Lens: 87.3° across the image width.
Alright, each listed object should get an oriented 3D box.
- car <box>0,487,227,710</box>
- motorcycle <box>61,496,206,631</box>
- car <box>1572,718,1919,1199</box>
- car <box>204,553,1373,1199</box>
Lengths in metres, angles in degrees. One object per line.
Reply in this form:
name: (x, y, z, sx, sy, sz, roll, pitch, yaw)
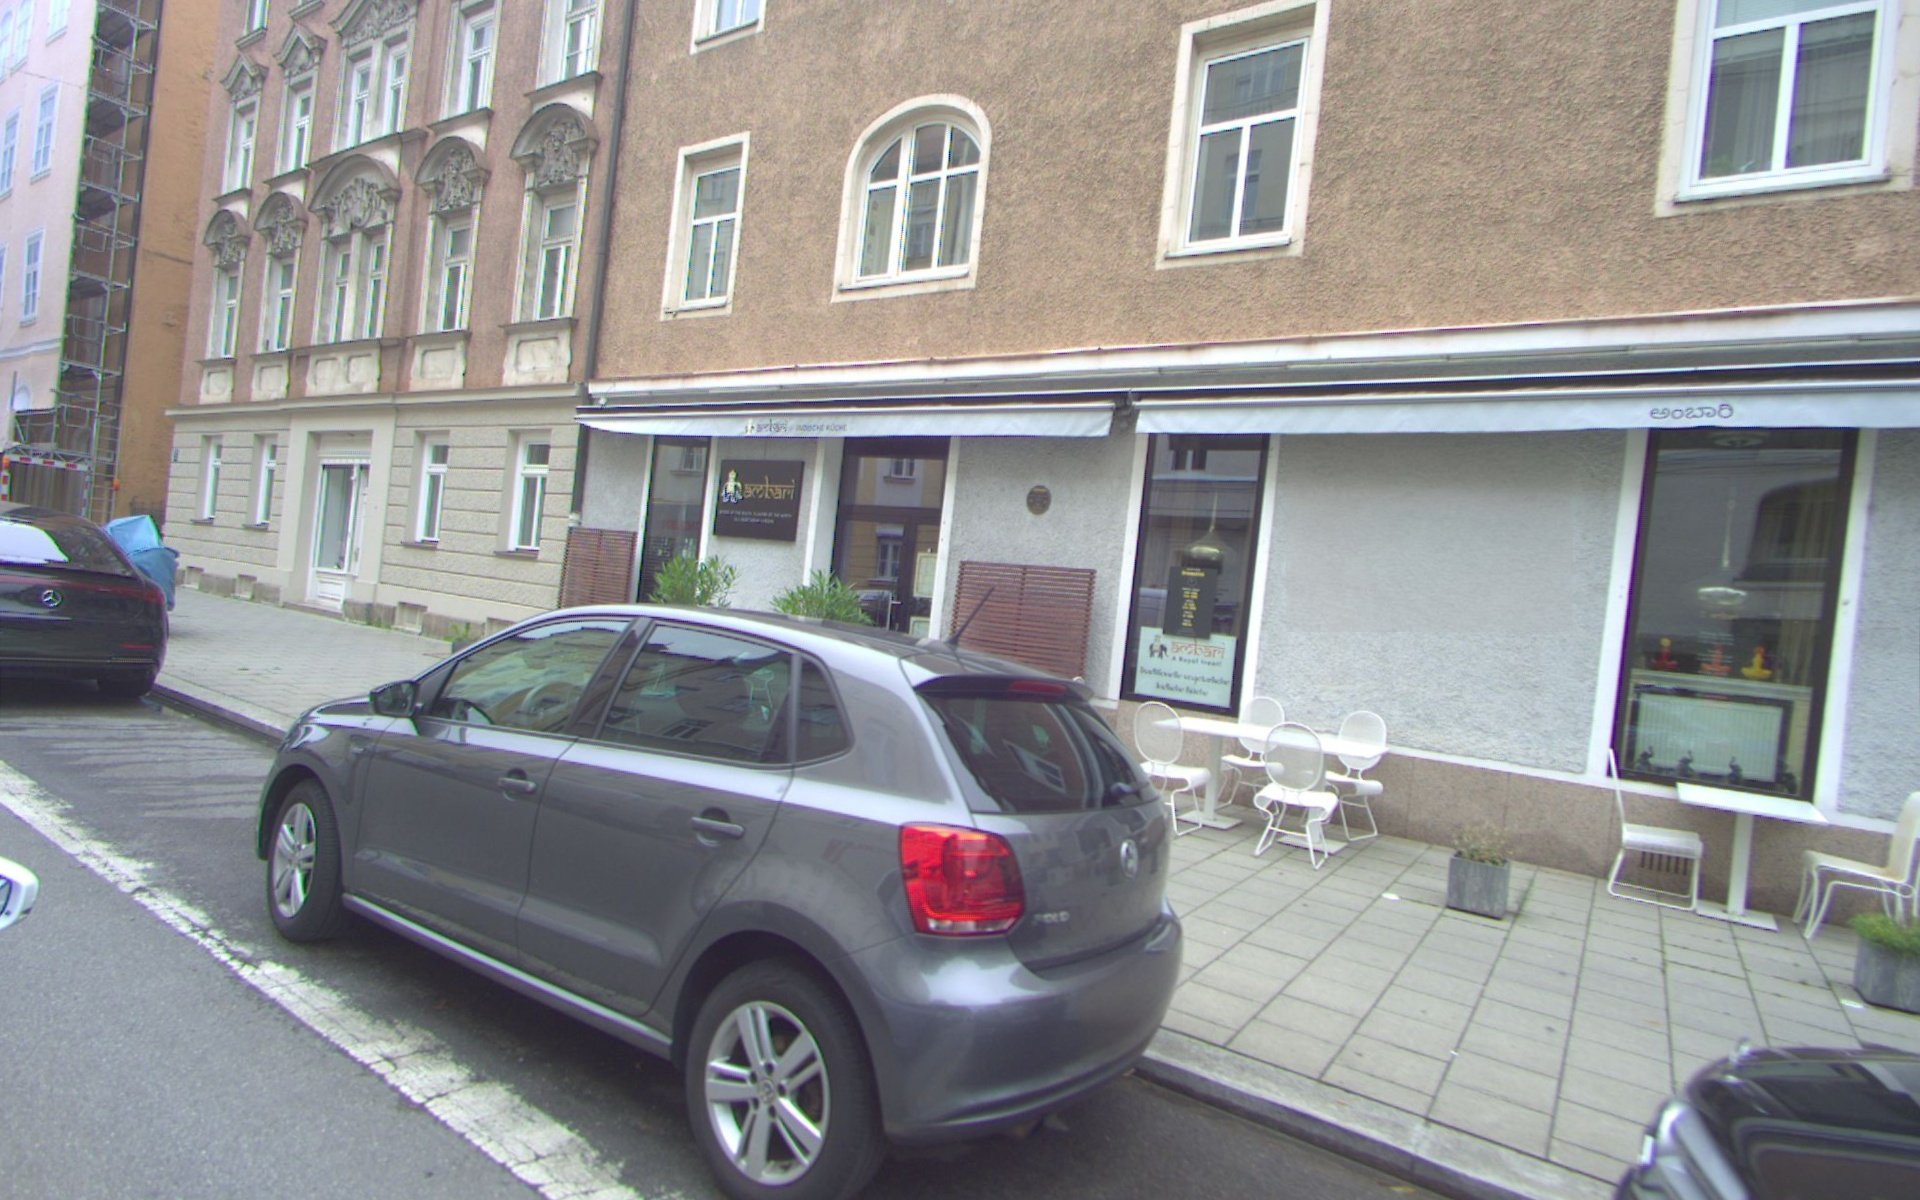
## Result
car: (-8.894, -0.227, 8.922, 5.545, 1.571, 1.933, 6, -1, 33)
motorcycle: (-10.673, -0.490, 12.972, 1.966, 1.523, 0.872, 6, 0, 36)
car: (3.240, 1.171, 0.754, 4.712, 1.422, 1.848, 6, -1, 34)
car: (-0.898, 0.736, 3.650, 4.115, 1.412, 1.573, 6, 0, 33)
